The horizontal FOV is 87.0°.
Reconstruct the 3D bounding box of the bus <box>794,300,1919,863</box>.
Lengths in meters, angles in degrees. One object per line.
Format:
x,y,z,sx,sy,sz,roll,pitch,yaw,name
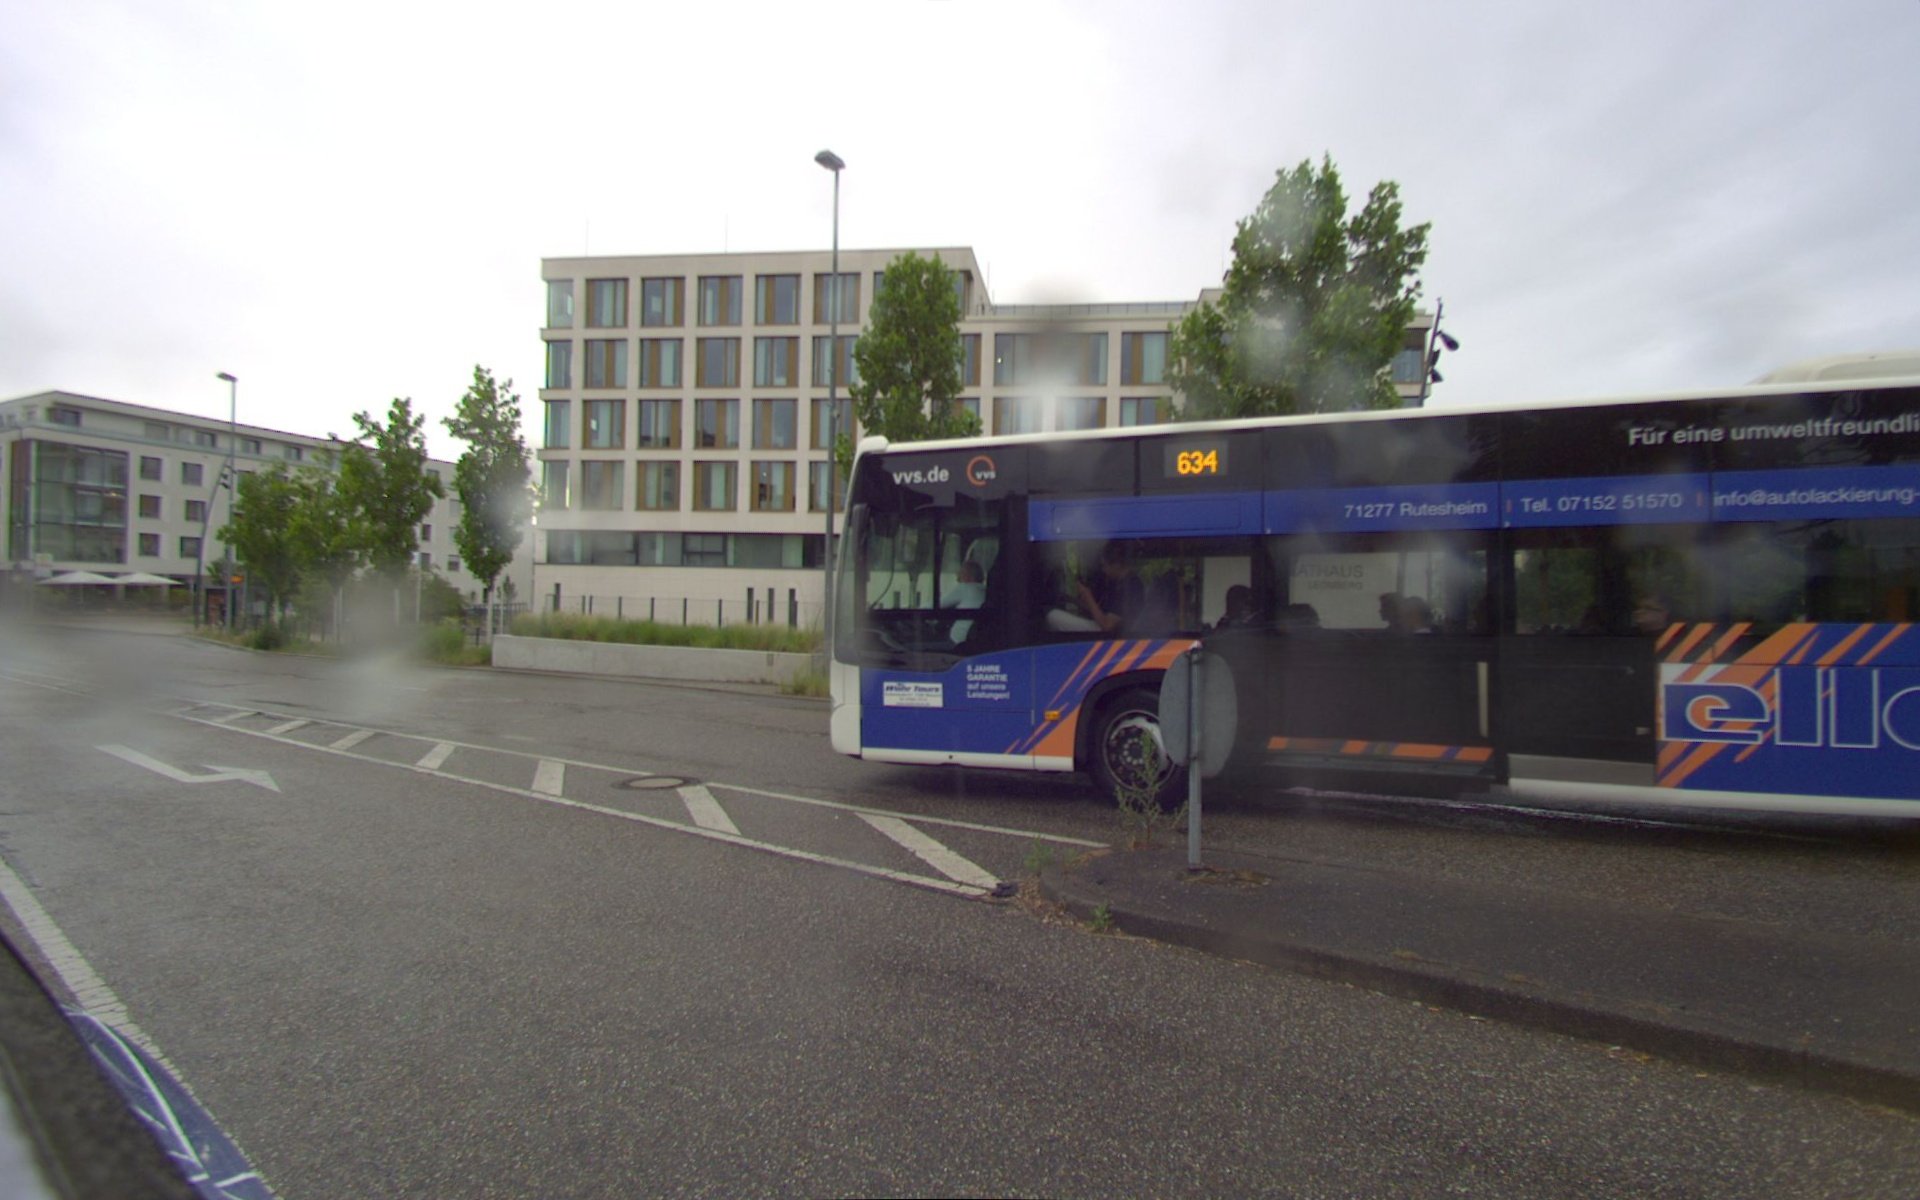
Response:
3.266,-0.076,7.908,8.819,3.138,2.781,0,-1,21,bus
